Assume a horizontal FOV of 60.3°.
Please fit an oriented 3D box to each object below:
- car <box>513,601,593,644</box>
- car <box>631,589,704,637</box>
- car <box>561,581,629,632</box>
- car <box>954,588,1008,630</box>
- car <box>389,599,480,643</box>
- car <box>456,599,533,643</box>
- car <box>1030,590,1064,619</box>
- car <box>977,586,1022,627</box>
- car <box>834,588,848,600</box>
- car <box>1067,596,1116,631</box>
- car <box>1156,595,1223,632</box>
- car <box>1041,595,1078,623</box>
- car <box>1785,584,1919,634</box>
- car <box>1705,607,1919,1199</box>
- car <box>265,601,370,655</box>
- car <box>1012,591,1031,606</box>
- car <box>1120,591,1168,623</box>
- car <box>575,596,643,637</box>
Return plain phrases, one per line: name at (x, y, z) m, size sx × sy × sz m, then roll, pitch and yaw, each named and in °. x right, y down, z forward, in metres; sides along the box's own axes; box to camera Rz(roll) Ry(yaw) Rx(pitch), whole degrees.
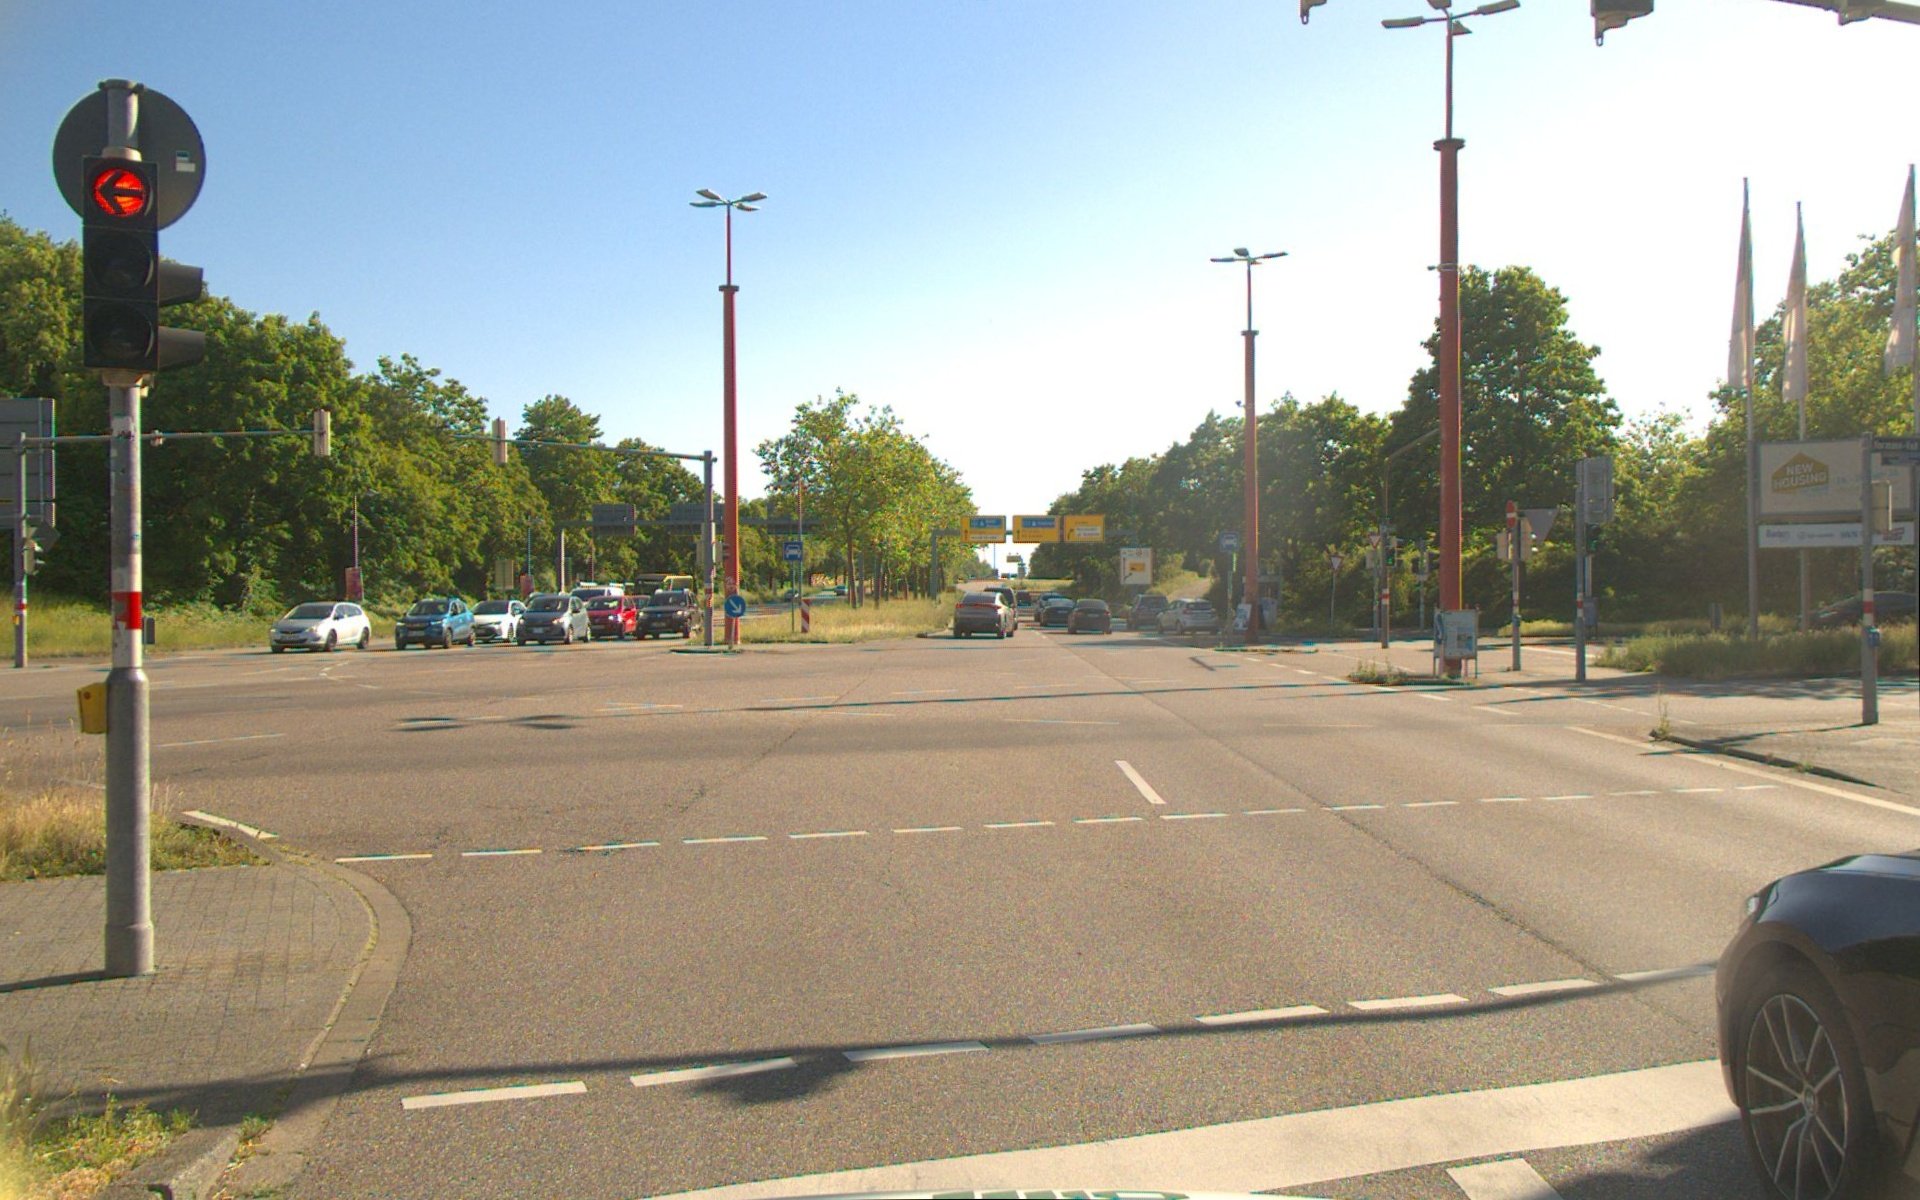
car at (-12.670, 0.669, 51.704) m, size 1.704 × 1.265 × 3.611 m, roll 0°, pitch 0°, yaw -2°
car at (-9.822, 0.424, 55.764) m, size 1.782 × 1.534 × 3.999 m, roll 0°, pitch 0°, yaw -1°
car at (-15.602, 0.302, 70.899) m, size 1.855 × 2.061 × 5.221 m, roll 1°, pitch -1°, yaw -2°
car at (0.785, 0.299, 58.956) m, size 1.792 × 1.447 × 4.438 m, roll 0°, pitch 0°, yaw 2°
car at (-16.051, 0.612, 50.682) m, size 1.704 × 1.265 × 3.611 m, roll 0°, pitch 0°, yaw -2°
car at (-15.928, 0.701, 56.799) m, size 1.704 × 1.436 × 3.611 m, roll 0°, pitch 0°, yaw -2°
car at (5.134, 0.255, 98.284) m, size 1.785 × 1.665 × 4.252 m, roll 0°, pitch 0°, yaw 0°
car at (1.717, 0.279, 73.255) m, size 1.808 × 1.738 × 4.306 m, roll 0°, pitch 0°, yaw -1°
car at (-16.926, -0.828, 235.160) m, size 1.804 × 1.696 × 3.999 m, roll 1°, pitch 0°, yaw -1°
car at (5.462, 0.539, 68.344) m, size 1.722 × 1.373 × 4.366 m, roll 0°, pitch 0°, yaw 8°
car at (9.579, 0.549, 69.340) m, size 1.648 × 1.493 × 3.986 m, roll 0°, pitch 0°, yaw -10°
car at (4.981, 0.444, 83.263) m, size 1.723 × 1.373 × 4.364 m, roll -1°, pitch 0°, yaw 2°
car at (30.119, 0.286, 55.585) m, size 3.910 × 1.606 × 1.867 m, roll 0°, pitch 0°, yaw -6°
car at (2.943, 0.737, 2.368) m, size 1.831 × 1.422 × 4.444 m, roll 0°, pitch 0°, yaw 1°
car at (-19.444, 0.812, 50.231) m, size 1.725 × 1.559 × 3.934 m, roll 0°, pitch 0°, yaw -2°
car at (6.307, -0.157, 169.627) m, size 1.646 × 1.460 × 4.063 m, roll 0°, pitch 0°, yaw -2°
car at (8.927, 0.323, 80.460) m, size 1.743 × 1.511 × 4.328 m, roll 0°, pitch 0°, yaw -1°
car at (-12.278, 0.552, 58.103) m, size 1.704 × 1.386 × 3.611 m, roll 0°, pitch 0°, yaw -2°
